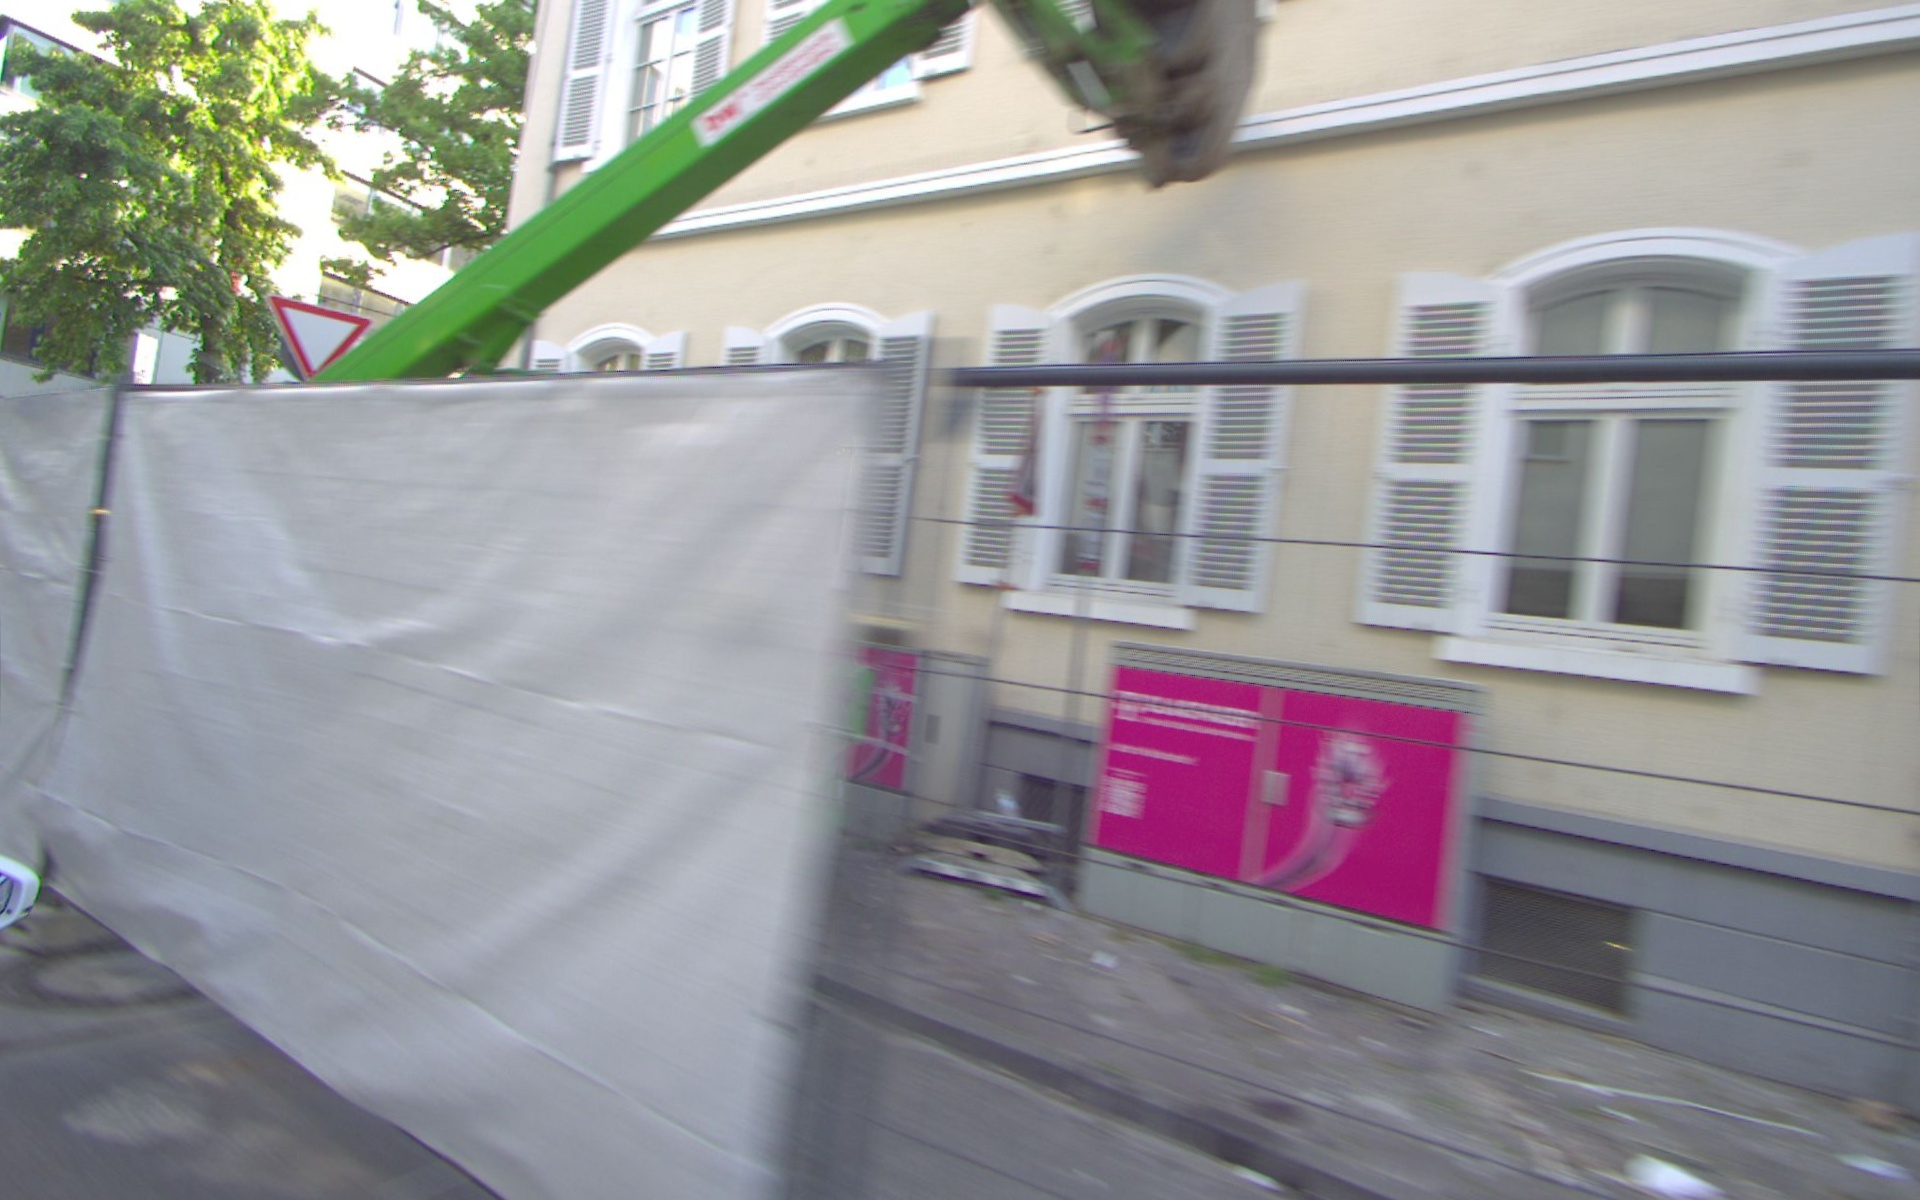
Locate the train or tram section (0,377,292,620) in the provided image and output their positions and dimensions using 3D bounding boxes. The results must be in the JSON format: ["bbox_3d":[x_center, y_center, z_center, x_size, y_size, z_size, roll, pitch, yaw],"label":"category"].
[{"bbox_3d":[-17.407,-2.045,16.340,2.977,3.563,10.355,6,-2,32],"label":"train or tram section"}]

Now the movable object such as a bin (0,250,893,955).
[{"bbox_3d":[-3.592,-0.145,6.667,5.472,2.906,2.640,7,-1,31],"label":"movable object such as a bin"}]
